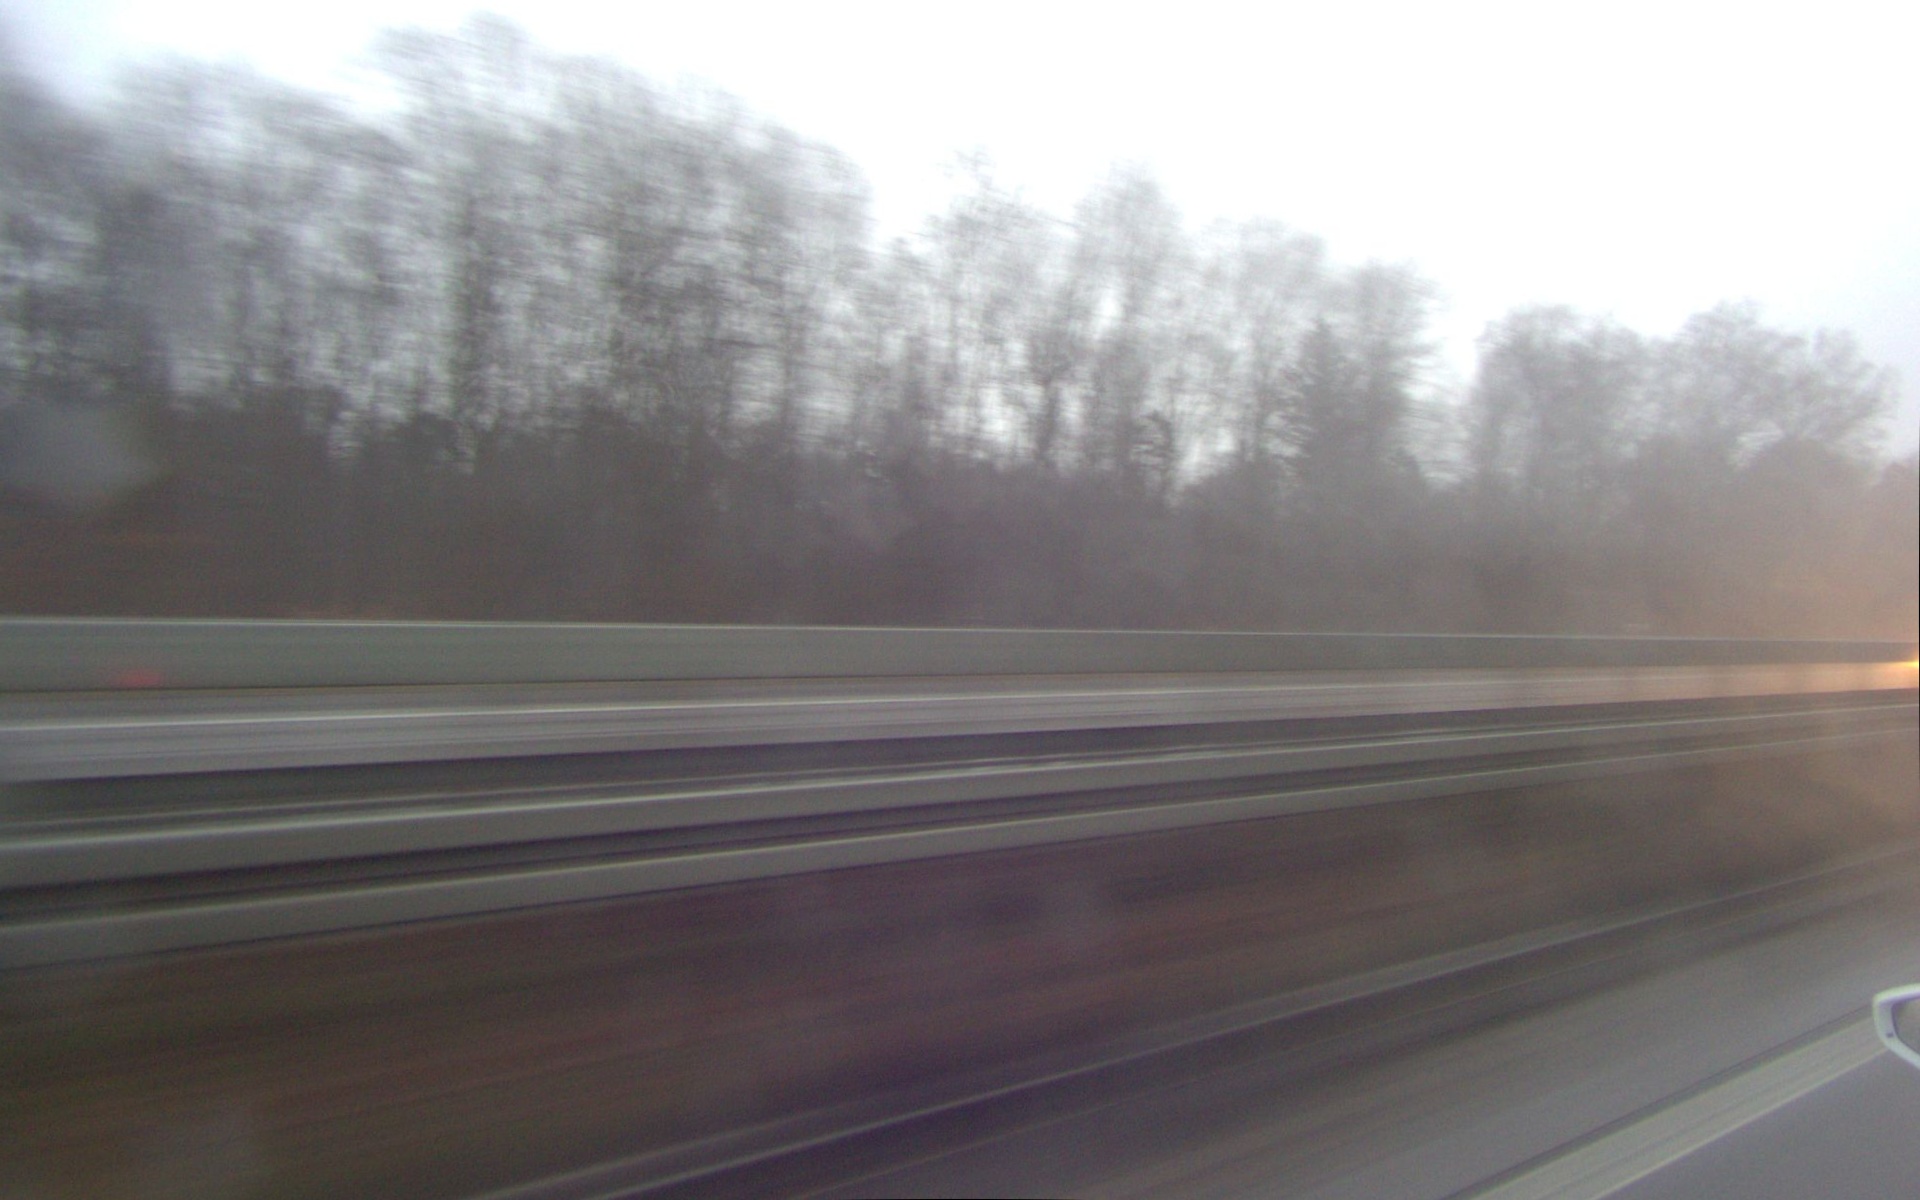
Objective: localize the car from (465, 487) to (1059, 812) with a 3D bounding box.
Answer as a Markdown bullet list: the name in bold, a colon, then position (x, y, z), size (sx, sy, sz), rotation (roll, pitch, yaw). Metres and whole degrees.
- **car**: position (-1.567, 0.317, 8.243), size (4.341, 2.041, 1.984), rotation (2, 2, -30)
